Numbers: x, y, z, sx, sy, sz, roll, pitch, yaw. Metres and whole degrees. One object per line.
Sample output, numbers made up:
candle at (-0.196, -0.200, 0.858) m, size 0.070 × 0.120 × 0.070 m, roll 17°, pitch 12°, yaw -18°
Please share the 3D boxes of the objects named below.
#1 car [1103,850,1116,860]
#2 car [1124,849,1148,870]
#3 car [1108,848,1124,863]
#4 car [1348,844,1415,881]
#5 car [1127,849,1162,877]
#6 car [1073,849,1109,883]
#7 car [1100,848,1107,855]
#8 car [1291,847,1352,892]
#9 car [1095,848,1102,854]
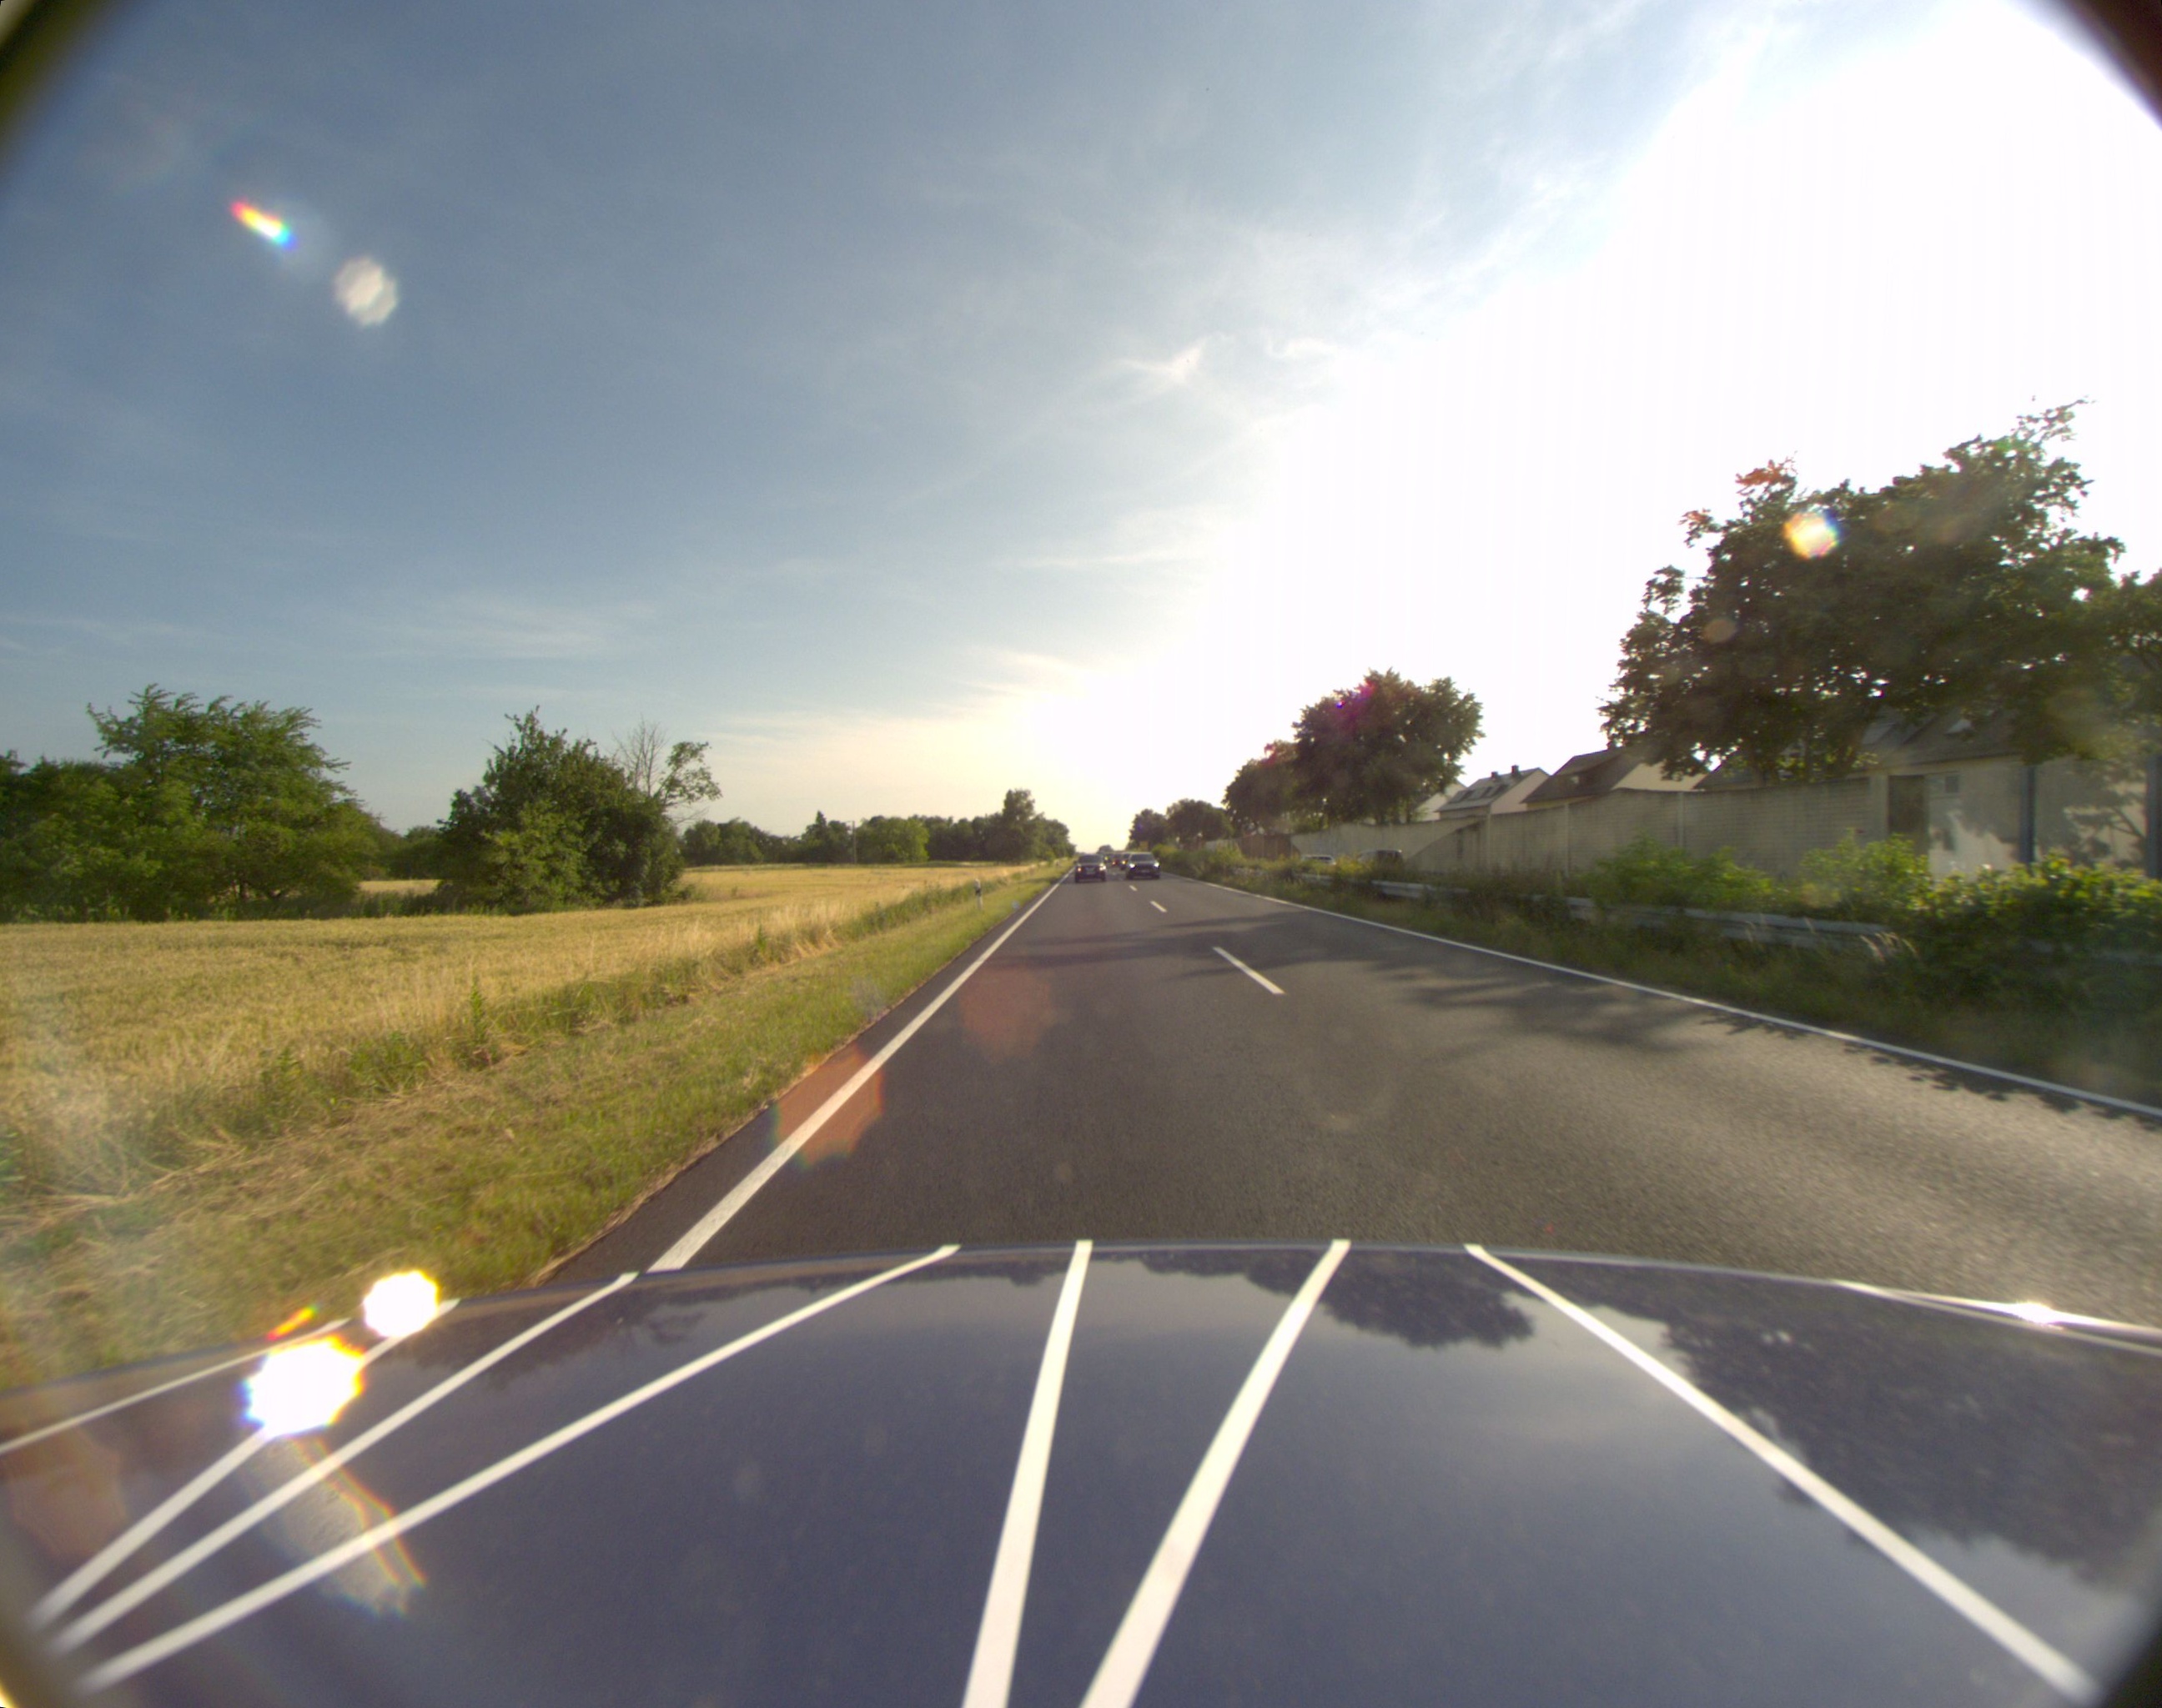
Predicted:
car at (4.335, 0.108, 116.118) m, size 1.700 × 1.456 × 3.646 m, roll -2°, pitch 1°, yaw 1°
car at (4.813, 0.436, 66.844) m, size 1.822 × 1.724 × 4.000 m, roll -2°, pitch 1°, yaw 2°
car at (4.168, 0.216, 90.708) m, size 1.822 × 1.661 × 4.000 m, roll -2°, pitch 1°, yaw 1°
car at (15.775, 0.397, 40.112) m, size 1.842 × 1.784 × 4.299 m, roll -2°, pitch 1°, yaw 1°
car at (3.817, 0.513, 46.331) m, size 1.821 × 1.516 × 4.246 m, roll -2°, pitch 1°, yaw 1°
car at (0.571, 0.606, 41.843) m, size 1.822 × 1.661 × 4.000 m, roll -2°, pitch 1°, yaw 1°
car at (5.304, -0.568, 178.681) m, size 1.693 × 1.397 × 3.999 m, roll -2°, pitch 1°, yaw 1°
car at (11.533, 0.712, 36.670) m, size 1.813 × 2.002 × 3.491 m, roll -2°, pitch 1°, yaw 1°
car at (4.635, -0.803, 204.164) m, size 1.854 × 1.641 × 3.999 m, roll -2°, pitch 1°, yaw 0°
